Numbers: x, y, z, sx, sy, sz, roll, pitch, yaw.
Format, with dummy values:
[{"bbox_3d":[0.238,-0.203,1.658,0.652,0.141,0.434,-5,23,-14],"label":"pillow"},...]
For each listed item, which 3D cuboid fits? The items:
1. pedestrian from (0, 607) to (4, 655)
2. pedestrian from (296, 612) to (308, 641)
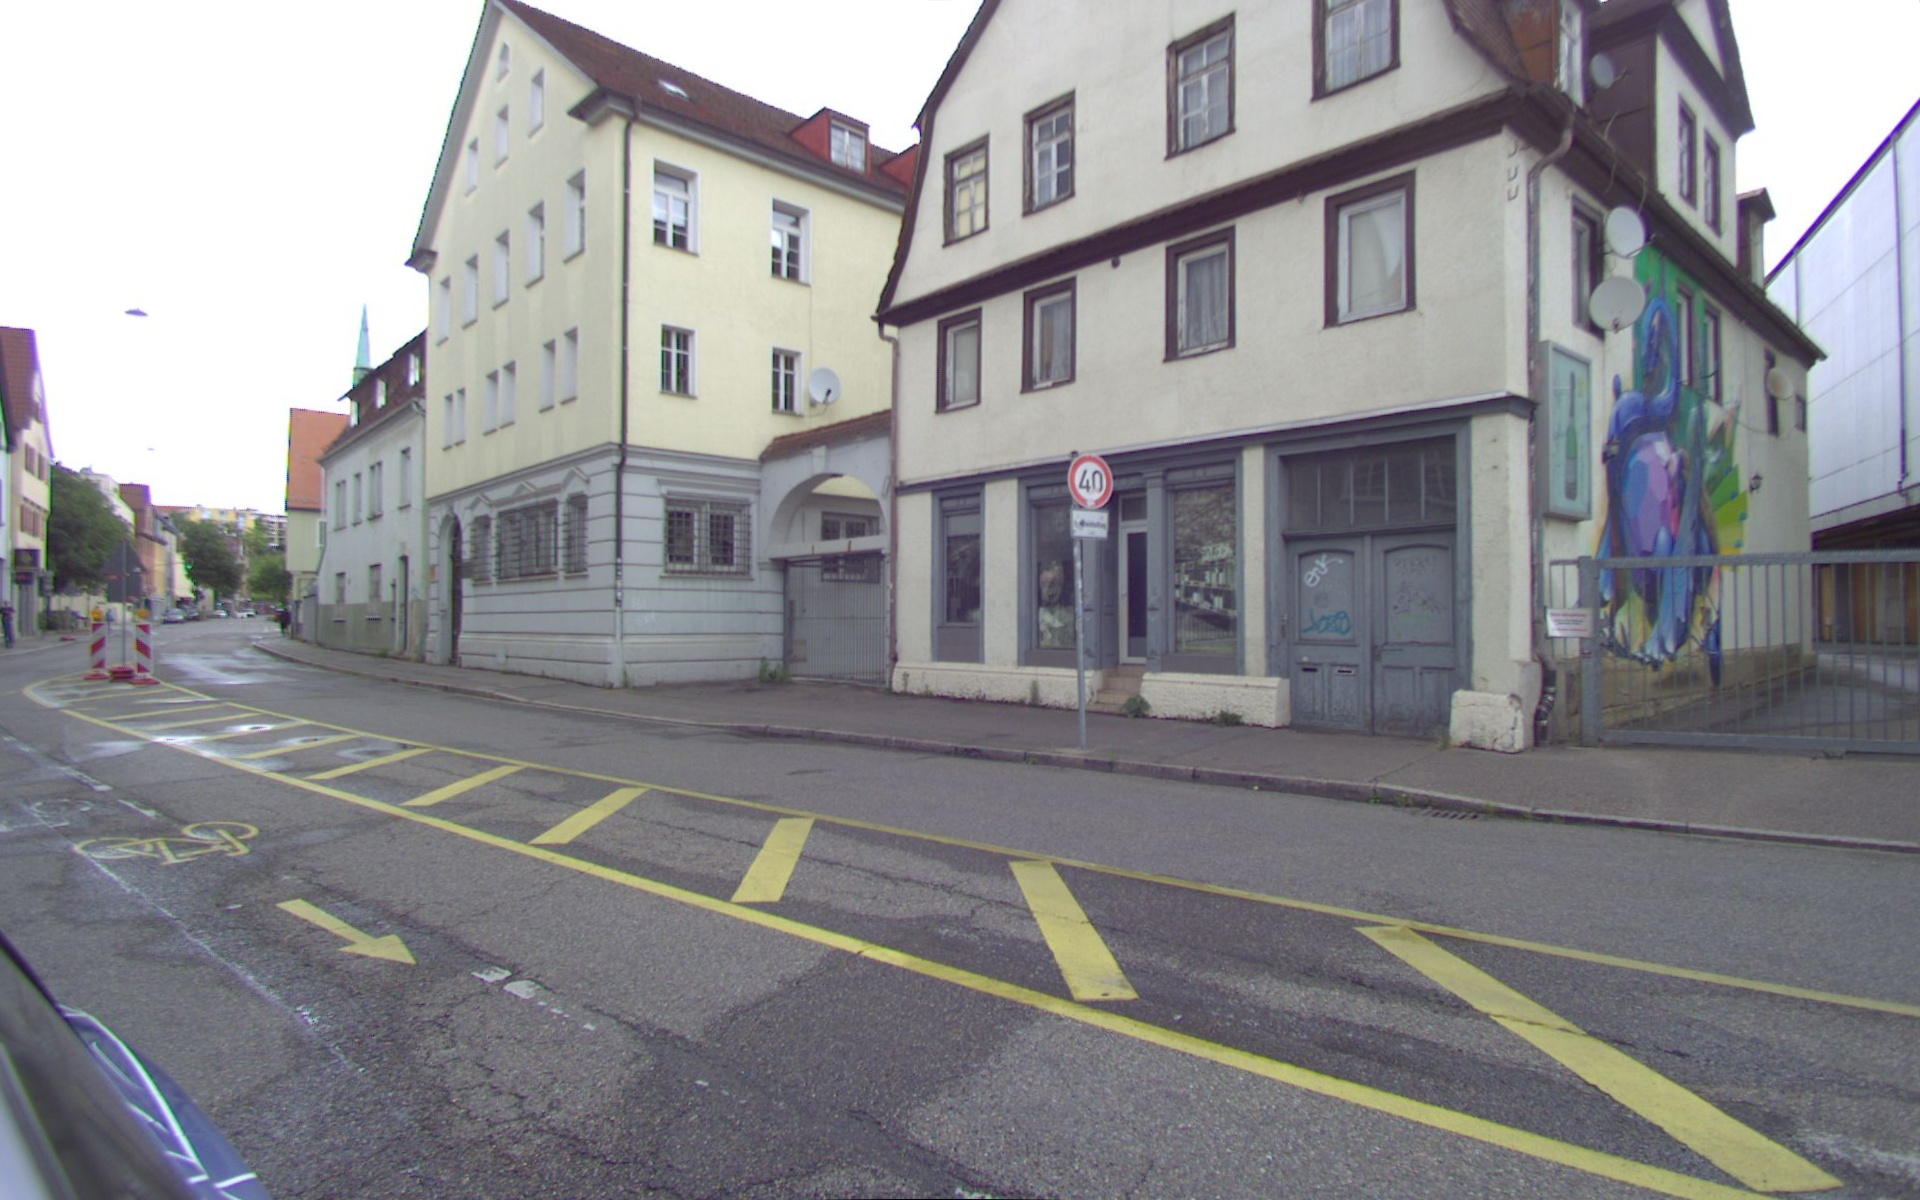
[{"bbox_3d":[-33.079,1.056,34.420,0.714,1.626,0.650,1,-2,-38],"label":"pedestrian"},{"bbox_3d":[-40.108,1.607,61.671,0.583,1.793,0.506,1,-2,-33],"label":"pedestrian"}]
